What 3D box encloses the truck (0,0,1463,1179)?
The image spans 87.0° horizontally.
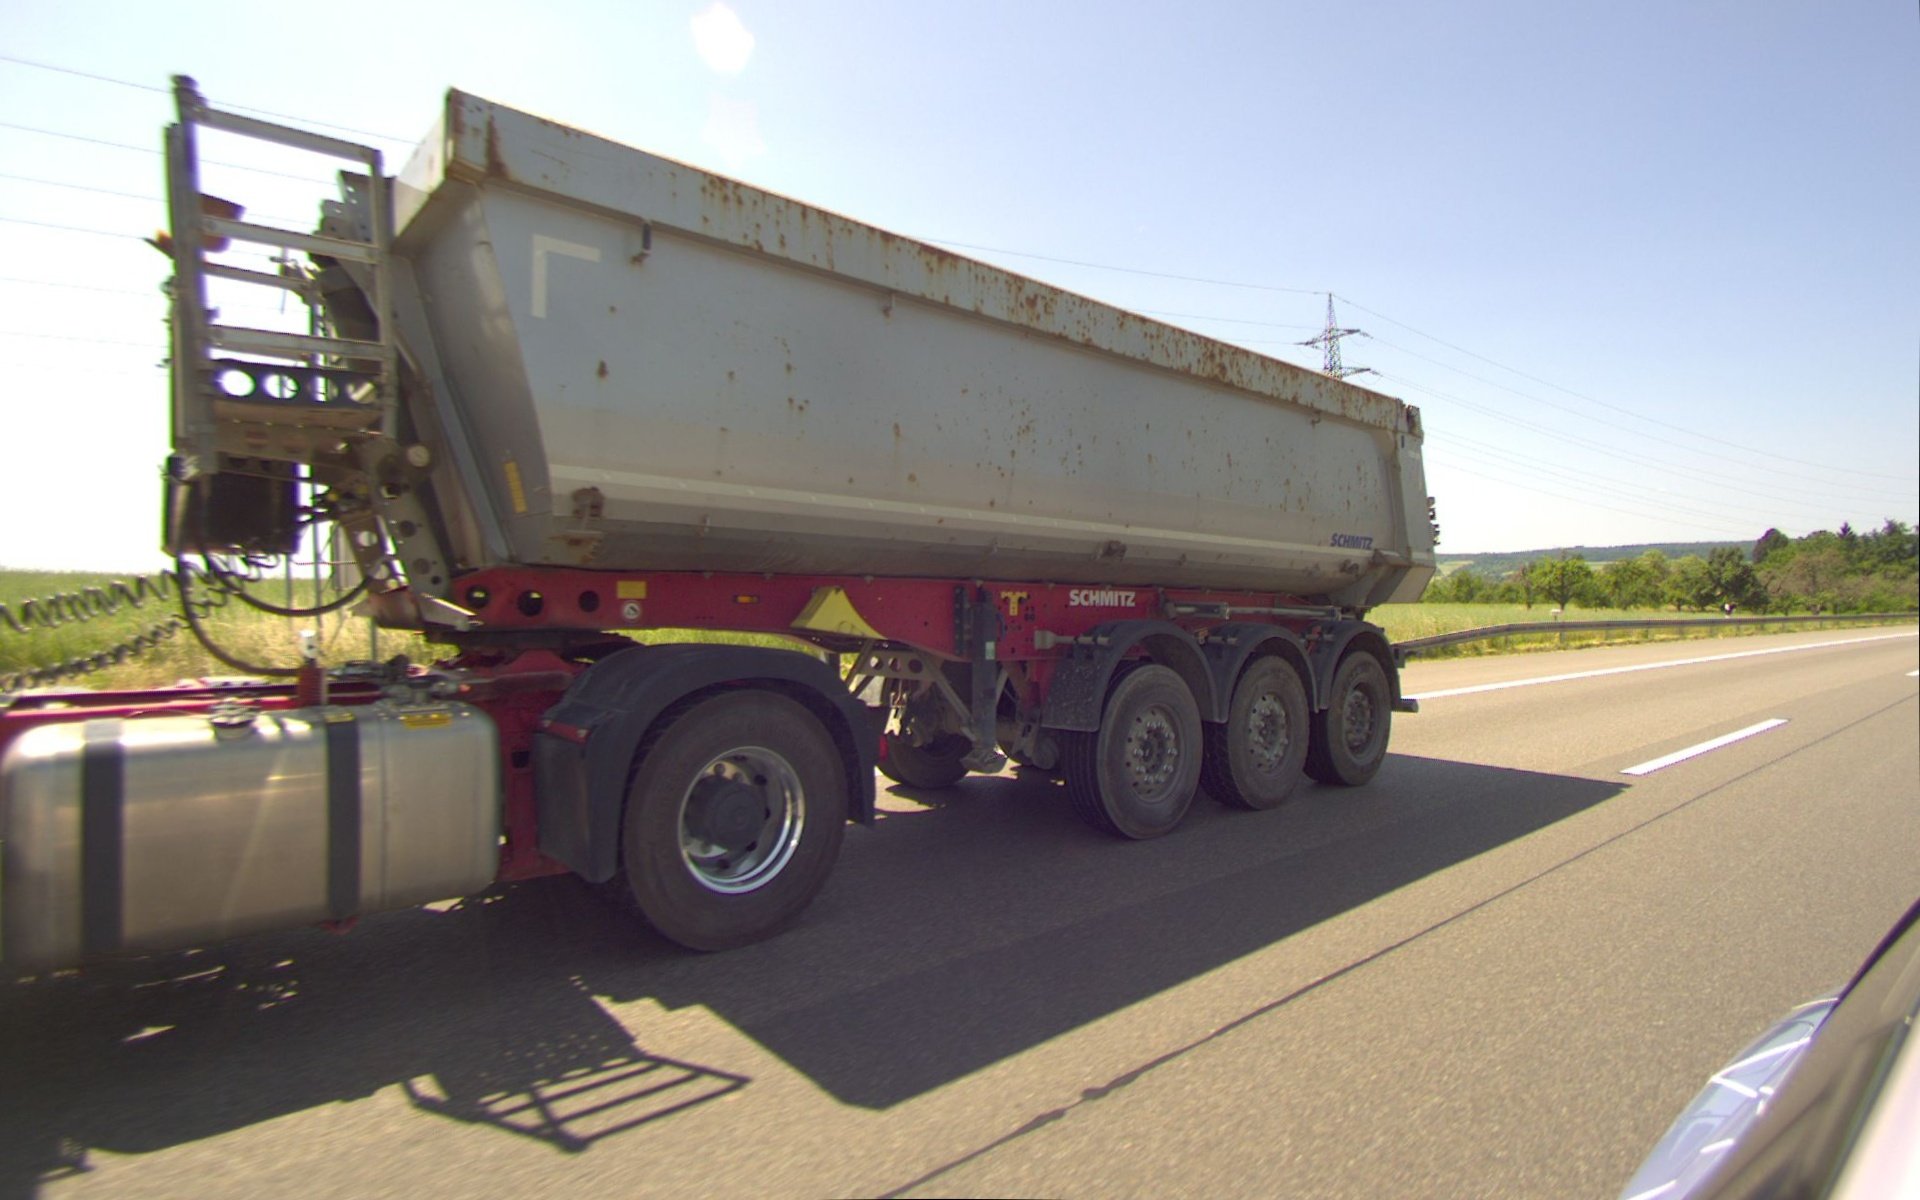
[{"bbox_3d":[-1.436,-0.456,5.353,12.542,3.770,2.870,0,1,-42],"label":"truck"}]
